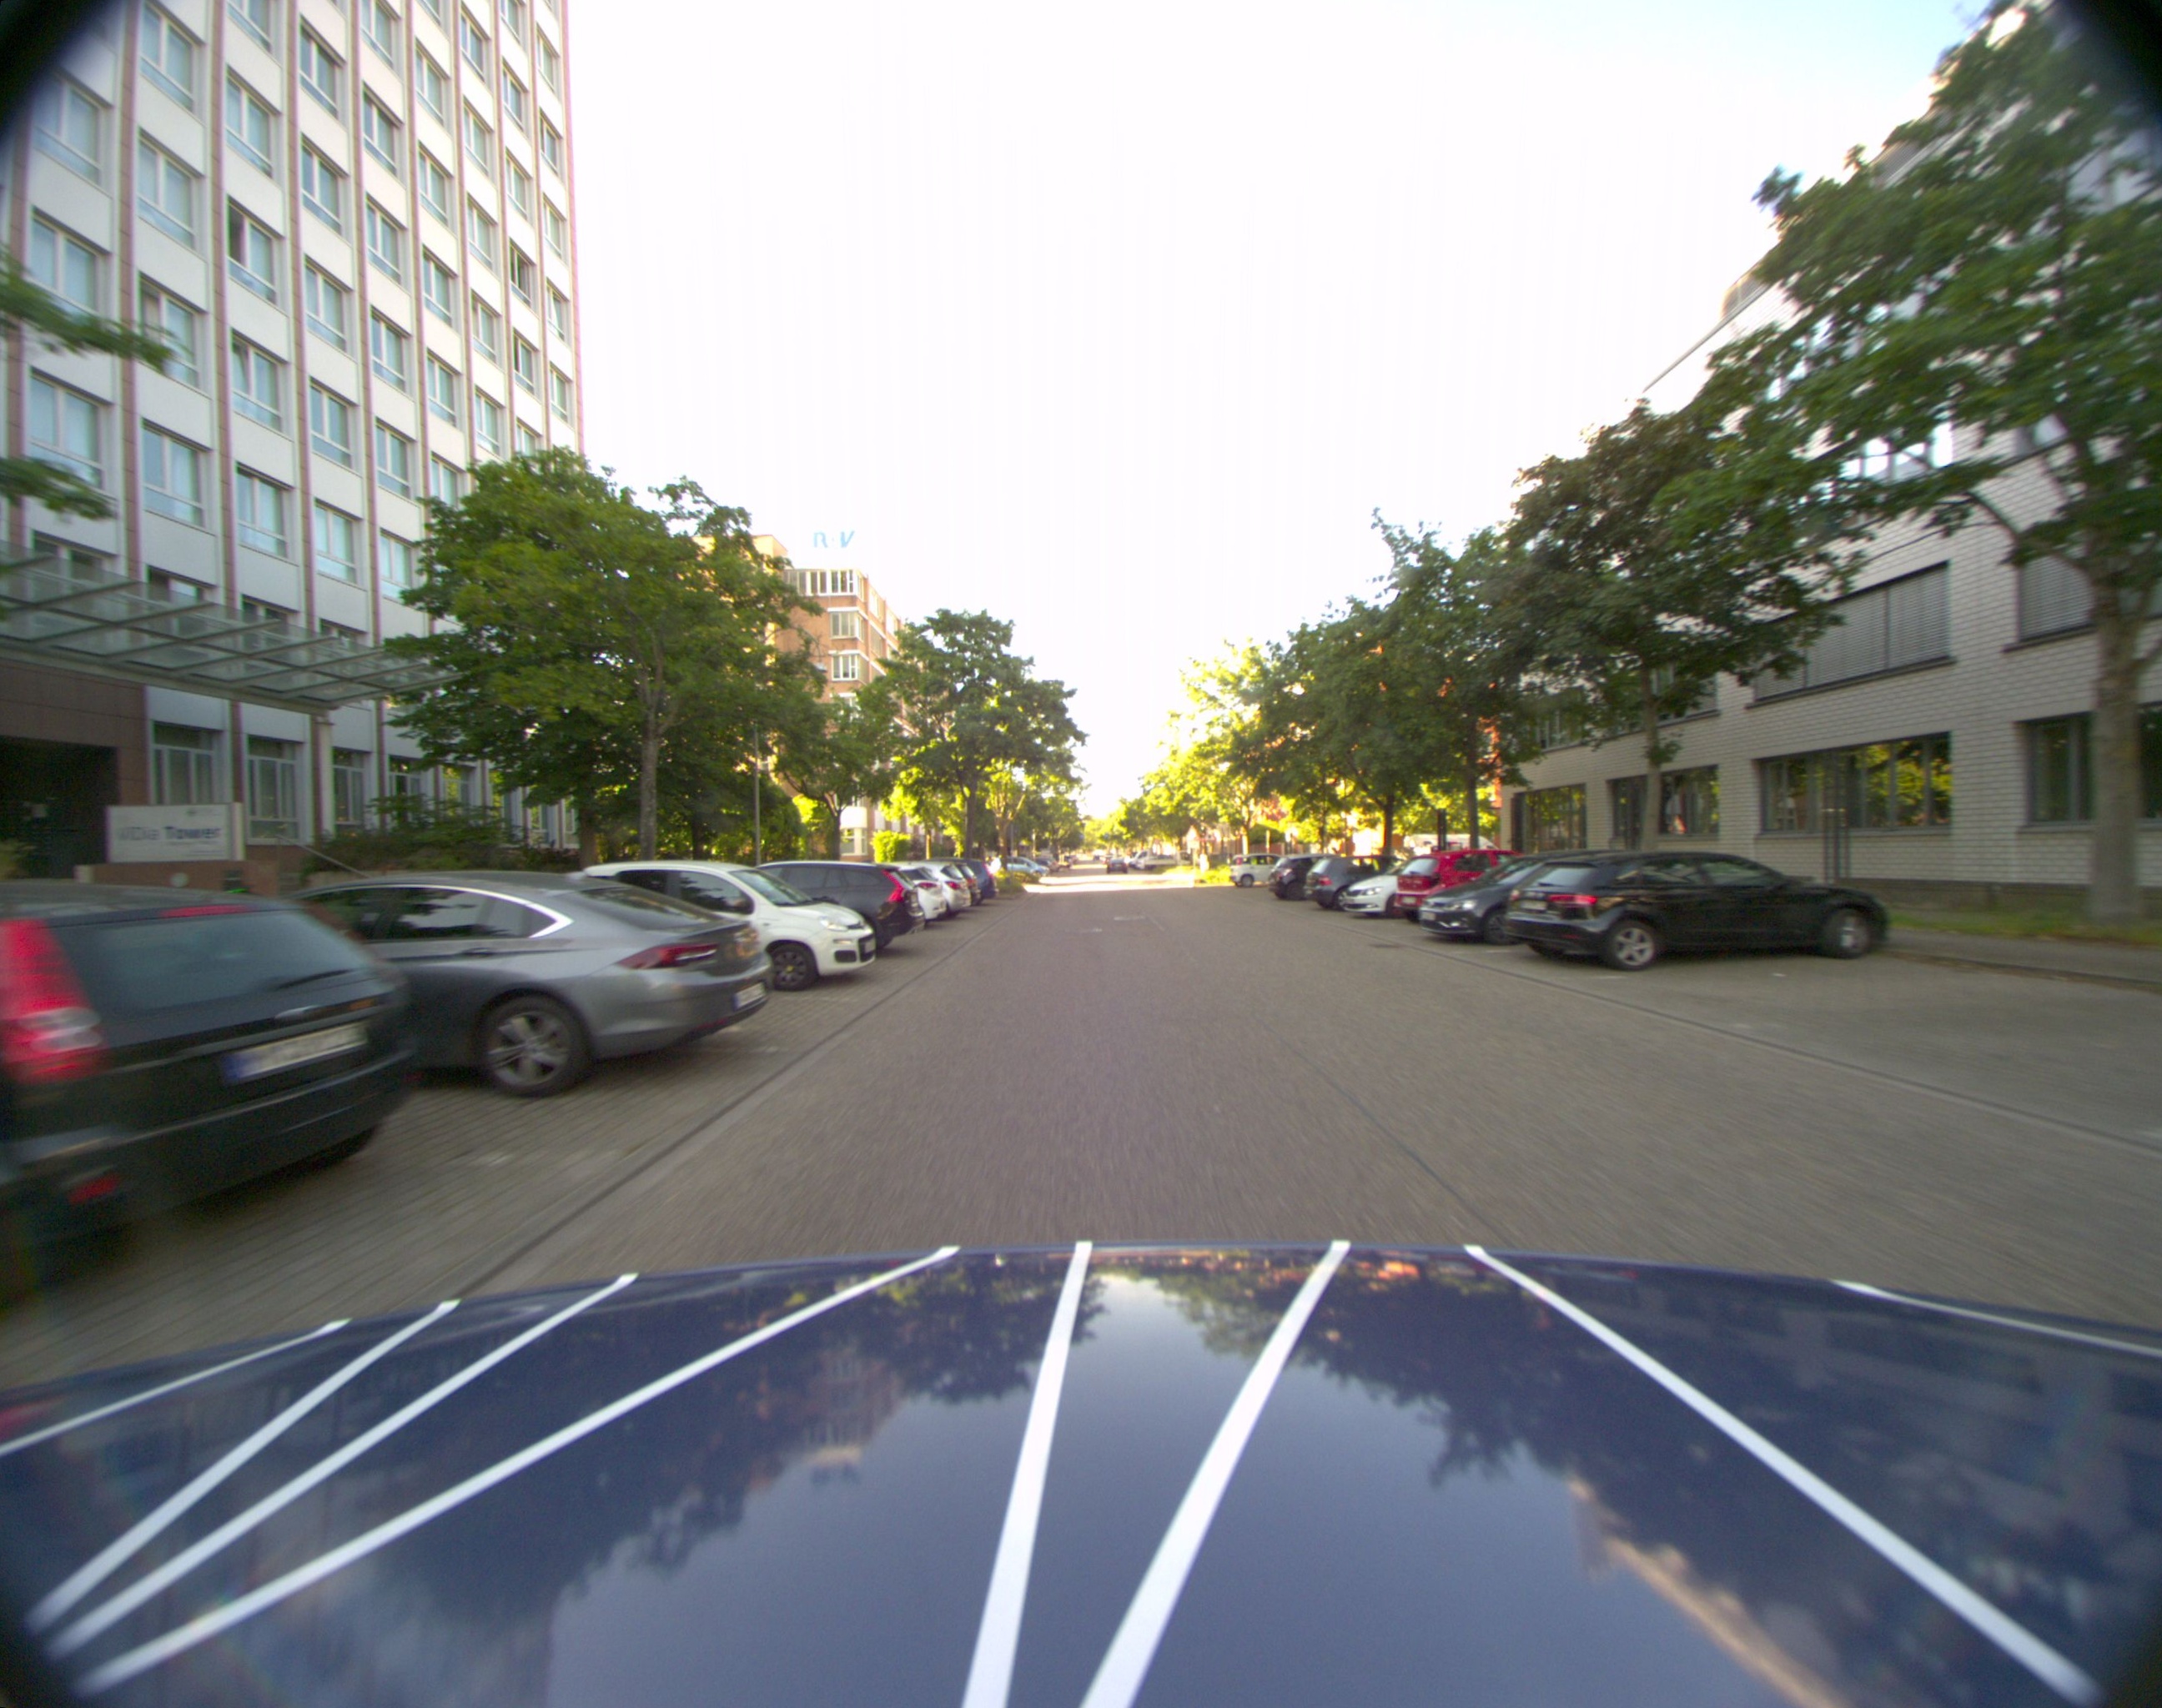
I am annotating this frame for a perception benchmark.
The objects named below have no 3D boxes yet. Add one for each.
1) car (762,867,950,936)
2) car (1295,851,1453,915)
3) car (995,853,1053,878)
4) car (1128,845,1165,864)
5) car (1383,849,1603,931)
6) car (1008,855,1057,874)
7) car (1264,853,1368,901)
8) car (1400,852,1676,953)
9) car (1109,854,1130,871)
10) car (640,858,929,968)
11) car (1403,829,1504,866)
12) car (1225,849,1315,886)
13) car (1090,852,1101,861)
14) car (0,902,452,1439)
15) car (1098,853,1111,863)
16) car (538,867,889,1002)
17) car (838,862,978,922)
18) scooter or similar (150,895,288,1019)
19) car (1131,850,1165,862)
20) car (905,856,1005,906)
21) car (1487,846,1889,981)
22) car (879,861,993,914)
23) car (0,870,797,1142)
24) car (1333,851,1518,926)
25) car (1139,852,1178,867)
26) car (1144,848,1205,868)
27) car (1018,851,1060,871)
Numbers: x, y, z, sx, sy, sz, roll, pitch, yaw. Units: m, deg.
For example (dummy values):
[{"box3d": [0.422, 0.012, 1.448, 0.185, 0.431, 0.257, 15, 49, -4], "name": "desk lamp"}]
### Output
[{"box3d": [-4.991, 1.032, 17.217, 3.754, 1.444, 1.657, 0, 0, -1], "name": "car"}, {"box3d": [7.705, 0.739, 20.189, 3.539, 1.497, 1.646, -2, 1, -1], "name": "car"}, {"box3d": [-4.143, 0.816, 55.792, 4.164, 1.696, 1.999, -2, 1, -2], "name": "car"}, {"box3d": [7.588, 0.045, 88.499, 3.997, 2.094, 1.999, -2, 1, -1], "name": "car"}, {"box3d": [8.231, 0.687, 15.364, 3.539, 1.437, 1.657, -2, 1, -3], "name": "car"}, {"box3d": [-4.200, 0.908, 65.808, 3.996, 1.463, 1.953, -2, 1, 2], "name": "car"}, {"box3d": [7.602, 0.714, 24.715, 2.933, 1.435, 1.389, -1, 1, 0], "name": "car"}, {"box3d": [7.403, 0.744, 12.538, 3.539, 1.428, 1.657, -2, 1, -1], "name": "car"}, {"box3d": [3.563, 0.750, 69.829, 1.766, 1.365, 4.000, -2, 1, 3], "name": "car"}, {"box3d": [-4.607, 0.886, 12.273, 3.982, 1.540, 1.683, -1, 0, -3], "name": "car"}, {"box3d": [23.132, -0.407, 47.282, 5.328, 2.087, 1.932, -2, 1, -2], "name": "car"}, {"box3d": [8.549, 0.594, 34.586, 3.630, 1.499, 1.617, -2, 1, -1], "name": "car"}, {"box3d": [2.772, 0.537, 148.758, 1.951, 1.617, 4.001, -1, 0, 3], "name": "car"}, {"box3d": [-5.066, 0.980, 2.946, 3.721, 1.472, 1.724, 0, 0, -4], "name": "car"}, {"box3d": [3.879, 0.637, 122.895, 1.951, 1.555, 4.001, -1, 0, 3], "name": "car"}, {"box3d": [-4.424, 0.940, 9.576, 3.582, 1.498, 1.724, 0, 1, -1], "name": "car"}, {"box3d": [-4.438, 0.958, 19.735, 3.203, 1.471, 1.589, 0, 1, 4], "name": "car"}, {"box3d": [-9.329, 1.071, 8.278, 0.272, 1.179, 1.246, -2, 1, -13], "name": "scooter or similar"}, {"box3d": [8.281, 0.283, 93.733, 3.997, 1.406, 1.594, -1, 0, -1], "name": "car"}, {"box3d": [-4.191, 0.893, 25.586, 3.053, 1.595, 1.604, 0, 1, 3], "name": "car"}, {"box3d": [7.668, 0.720, 9.866, 3.832, 1.405, 1.687, -3, -1, -1], "name": "car"}, {"box3d": [-4.212, 0.950, 22.357, 2.997, 1.451, 1.497, 0, 1, 3], "name": "car"}, {"box3d": [-4.702, 0.967, 5.660, 4.431, 1.544, 1.859, -1, 0, -1], "name": "car"}, {"box3d": [7.921, 0.761, 17.684, 3.527, 1.520, 1.657, -2, 1, -1], "name": "car"}, {"box3d": [8.273, 0.549, 81.148, 3.967, 1.463, 1.953, -2, 1, 2], "name": "car"}, {"box3d": [8.455, 0.318, 69.007, 5.252, 1.616, 1.953, -2, 1, 2], "name": "car"}, {"box3d": [-4.079, 0.676, 73.992, 3.998, 1.774, 1.952, -2, 1, -4], "name": "car"}]
